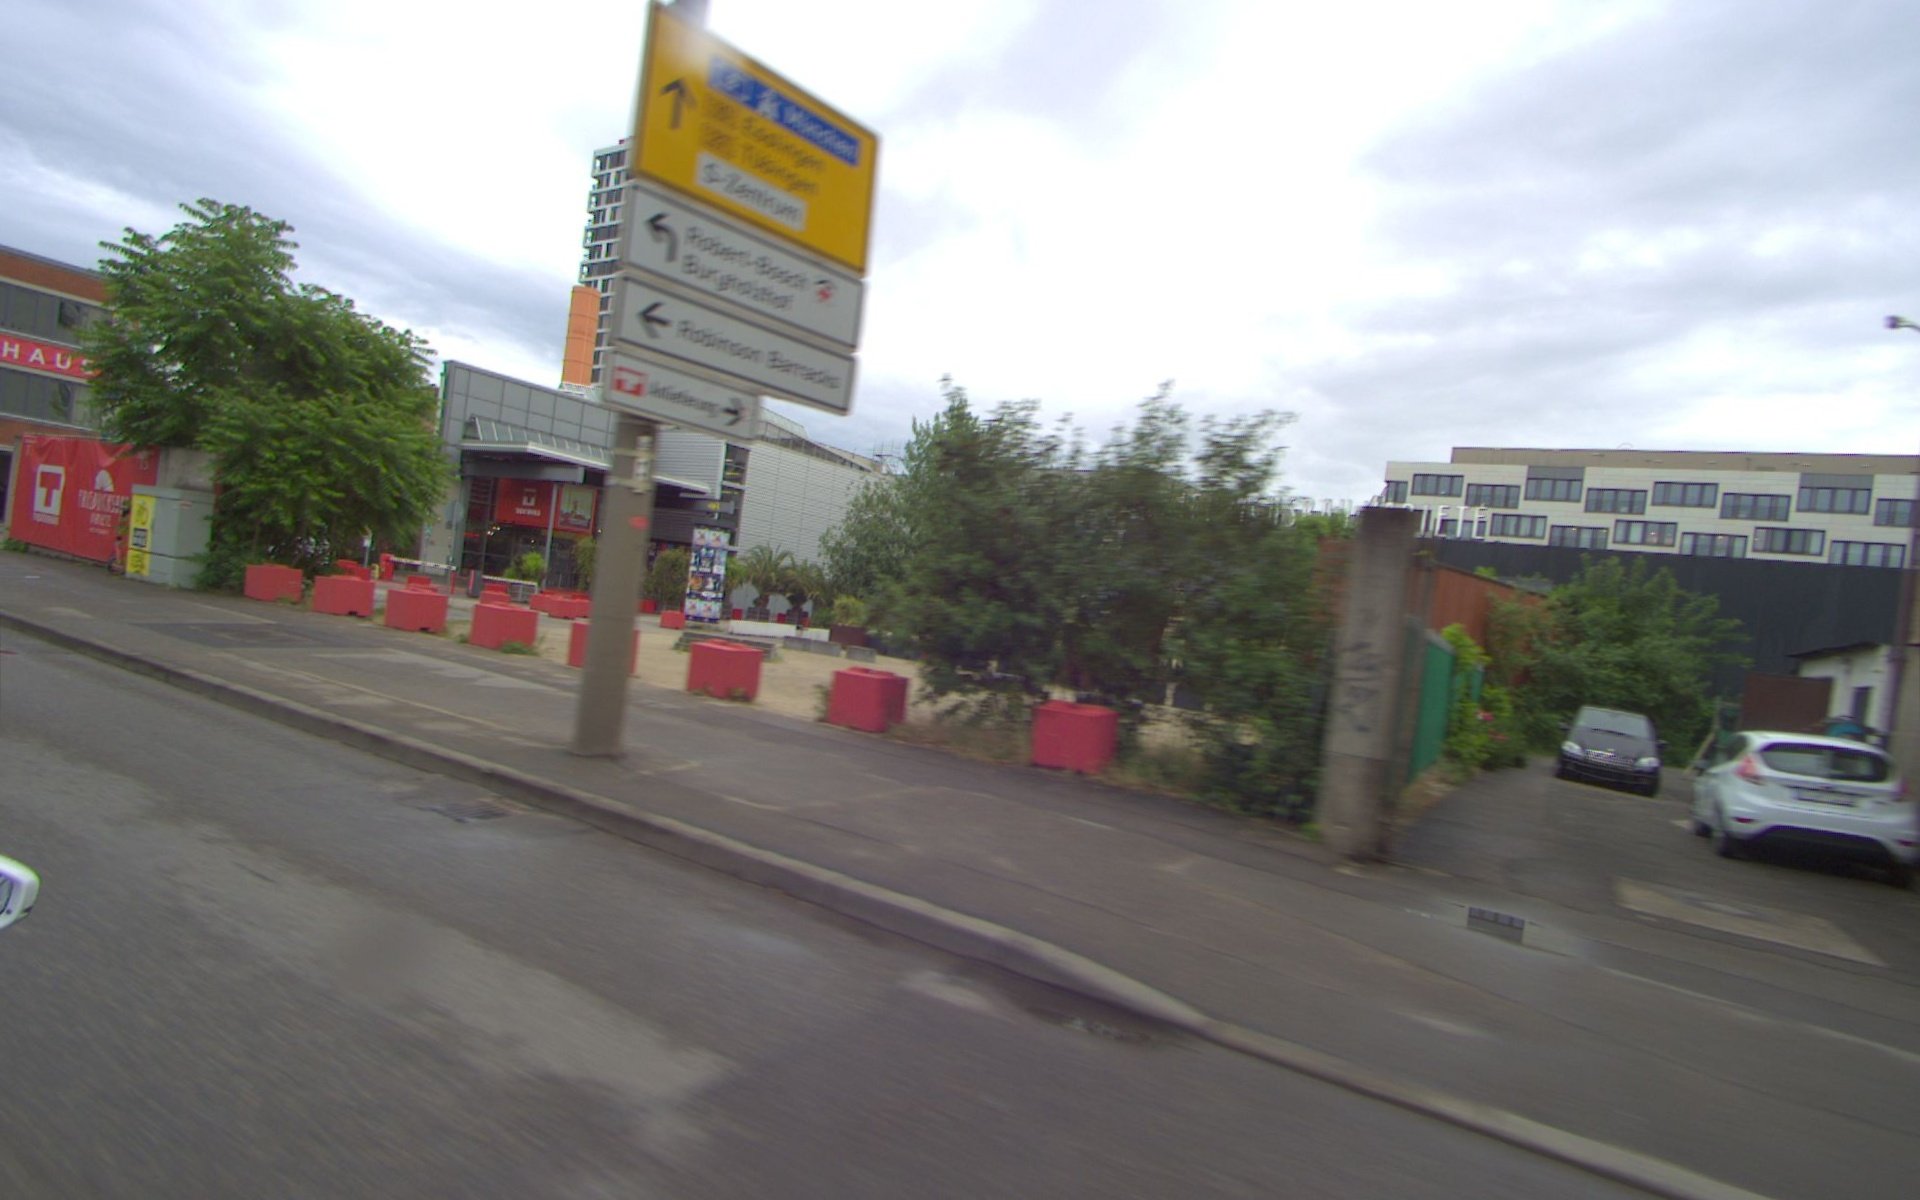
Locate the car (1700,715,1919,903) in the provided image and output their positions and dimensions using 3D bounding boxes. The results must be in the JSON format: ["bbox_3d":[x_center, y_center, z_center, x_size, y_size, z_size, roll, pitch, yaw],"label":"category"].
[{"bbox_3d":[9.990,2.303,12.026,1.601,1.466,3.986,5,0,34],"label":"car"}]

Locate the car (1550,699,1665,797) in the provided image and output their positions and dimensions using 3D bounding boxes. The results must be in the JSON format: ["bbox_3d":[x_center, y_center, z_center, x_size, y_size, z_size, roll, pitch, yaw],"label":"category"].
[{"bbox_3d":[13.940,3.141,21.550,1.776,1.680,3.992,5,-4,36],"label":"car"}]
